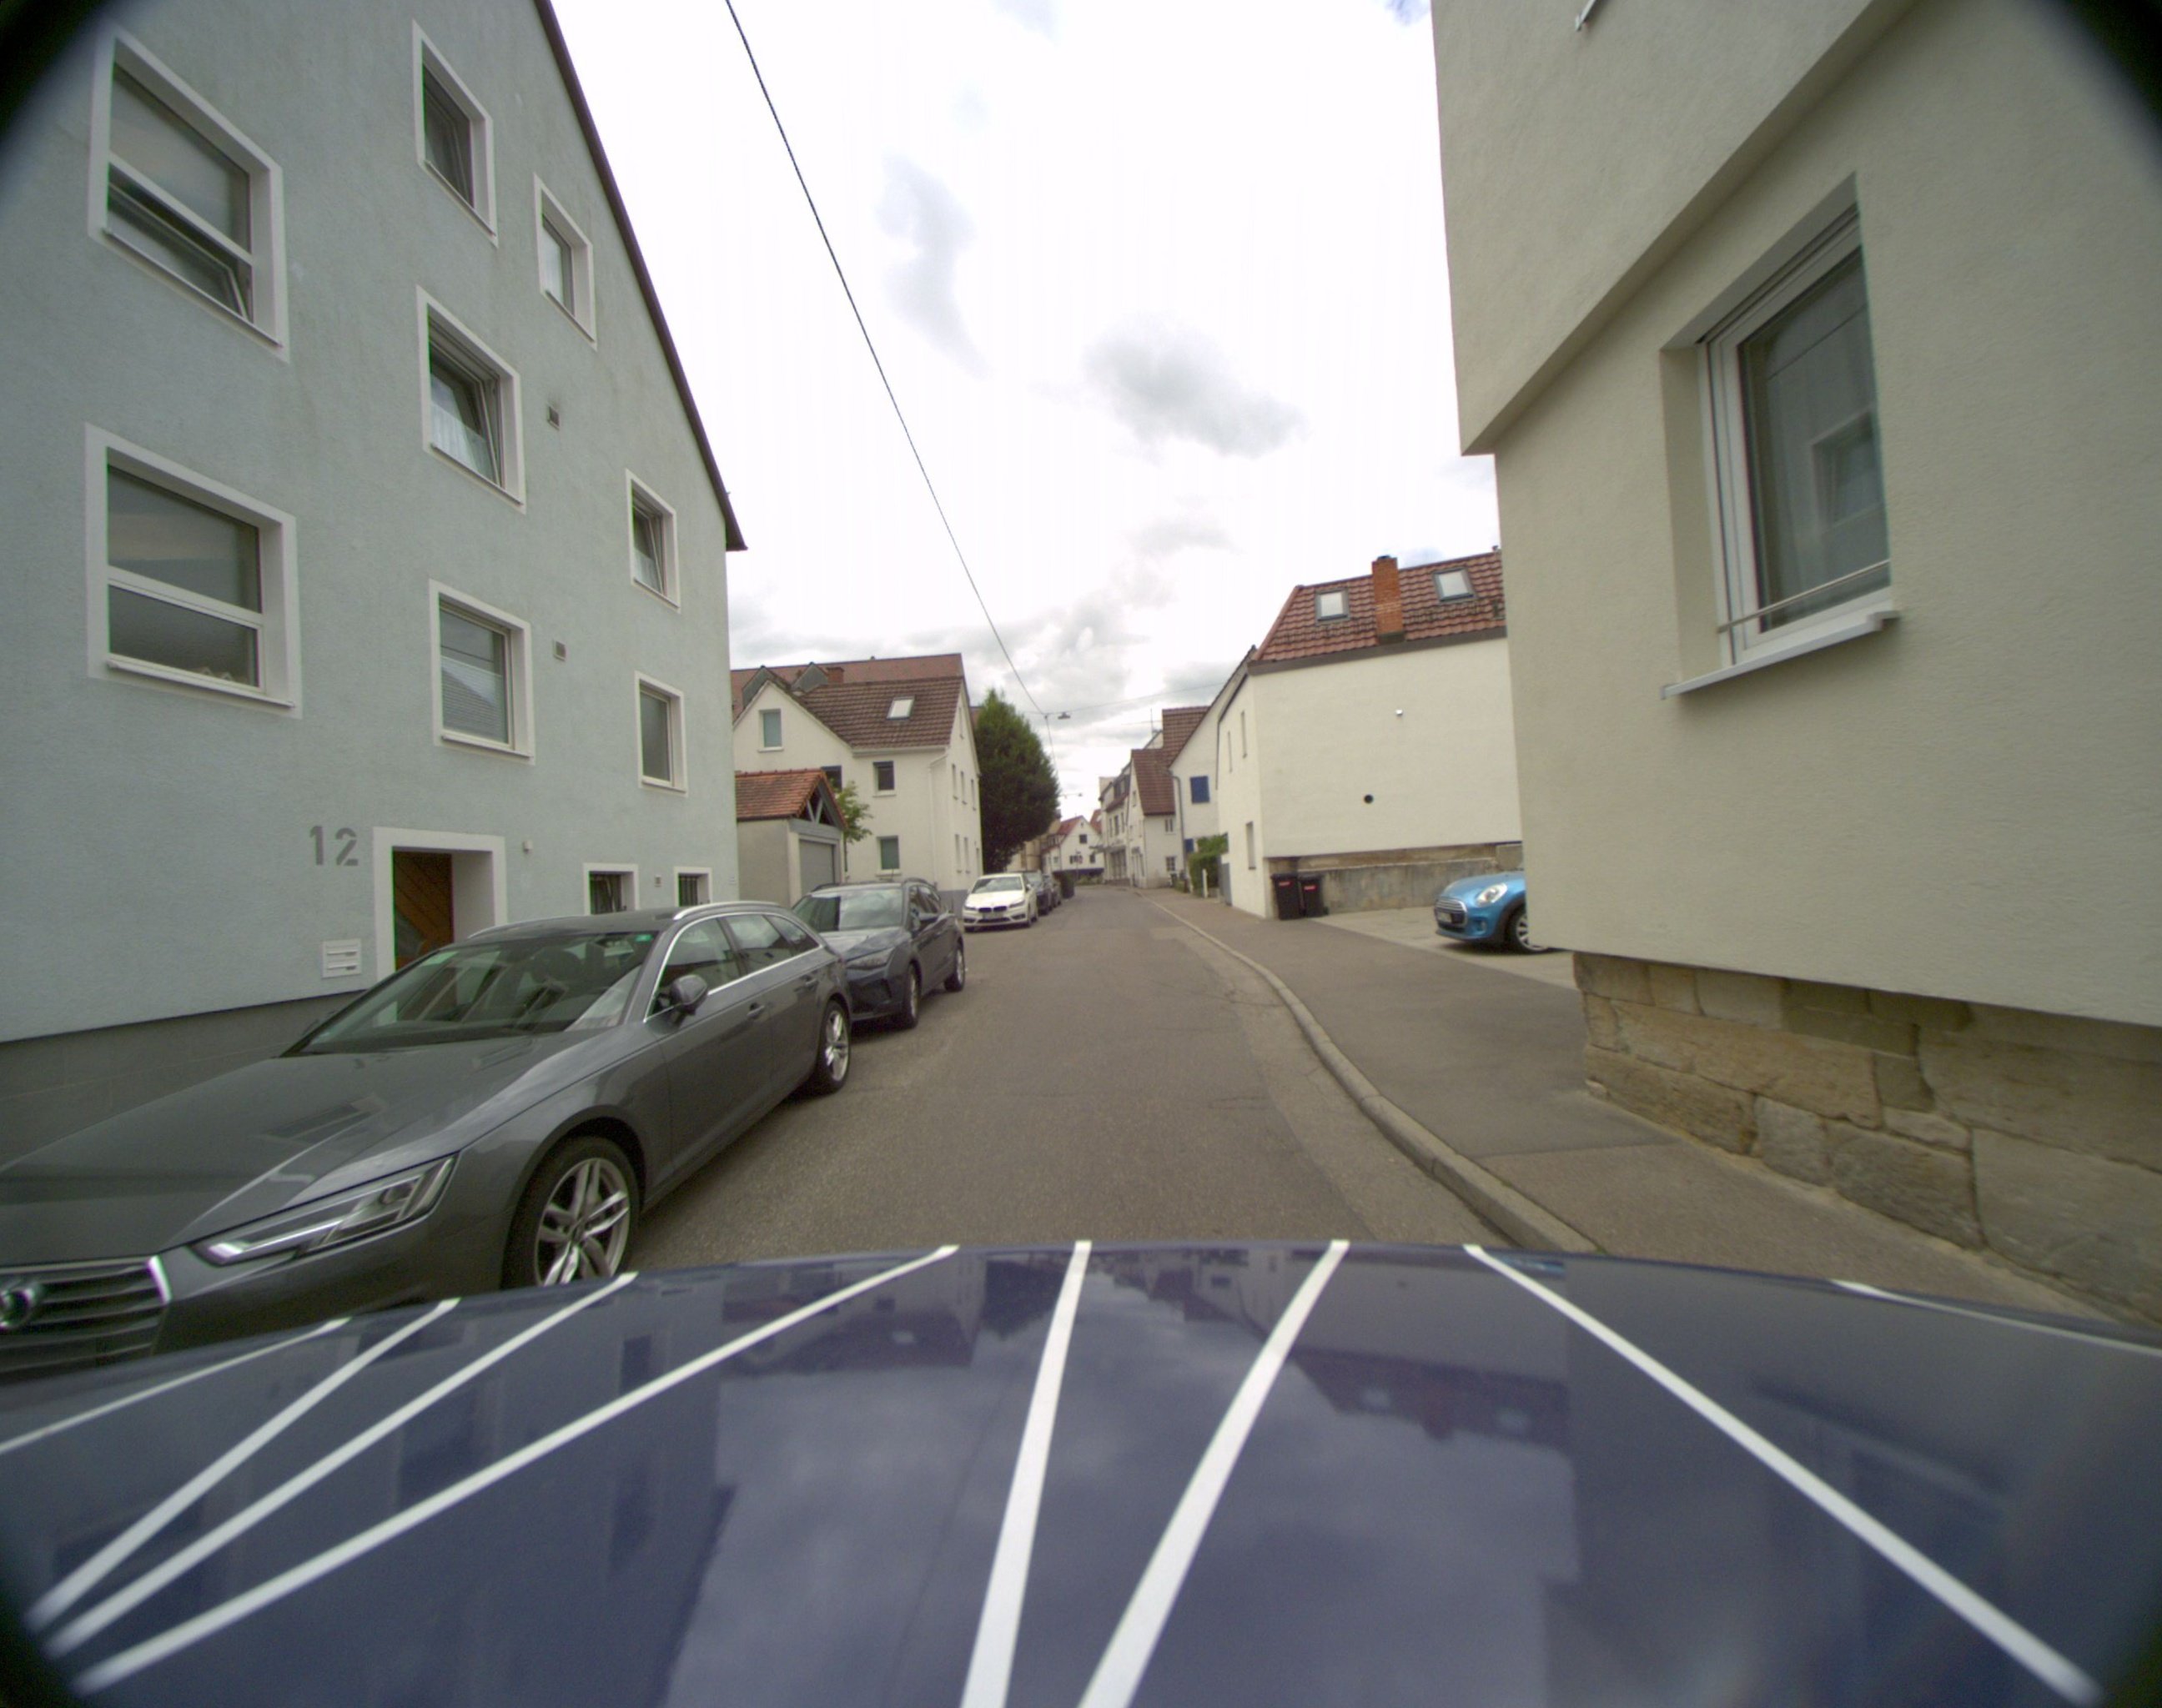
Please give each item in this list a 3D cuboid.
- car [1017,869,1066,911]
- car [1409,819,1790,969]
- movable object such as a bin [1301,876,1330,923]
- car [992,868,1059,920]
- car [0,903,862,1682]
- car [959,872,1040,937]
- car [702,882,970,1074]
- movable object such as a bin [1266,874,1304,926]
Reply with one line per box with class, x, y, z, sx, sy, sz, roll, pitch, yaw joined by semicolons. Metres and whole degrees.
car;-1.737;1.583;34.731;1.770;1.584;4.041;-5;0;2
car;6.404;0.479;9.721;3.596;1.342;1.632;-7;0;4
movable object such as a bin;5.044;0.976;16.378;0.498;0.928;0.625;-6;-1;17
car;-1.946;1.410;27.945;1.770;1.610;4.283;-5;-1;3
car;-2.630;1.149;3.801;1.730;1.434;4.265;-5;-1;0
car;-2.249;1.370;21.968;1.771;1.553;4.041;-5;-1;0
car;-2.462;1.174;8.663;1.642;1.503;3.841;-4;-1;1
movable object such as a bin;4.463;1.002;16.573;0.641;1.025;0.795;-7;-1;19
